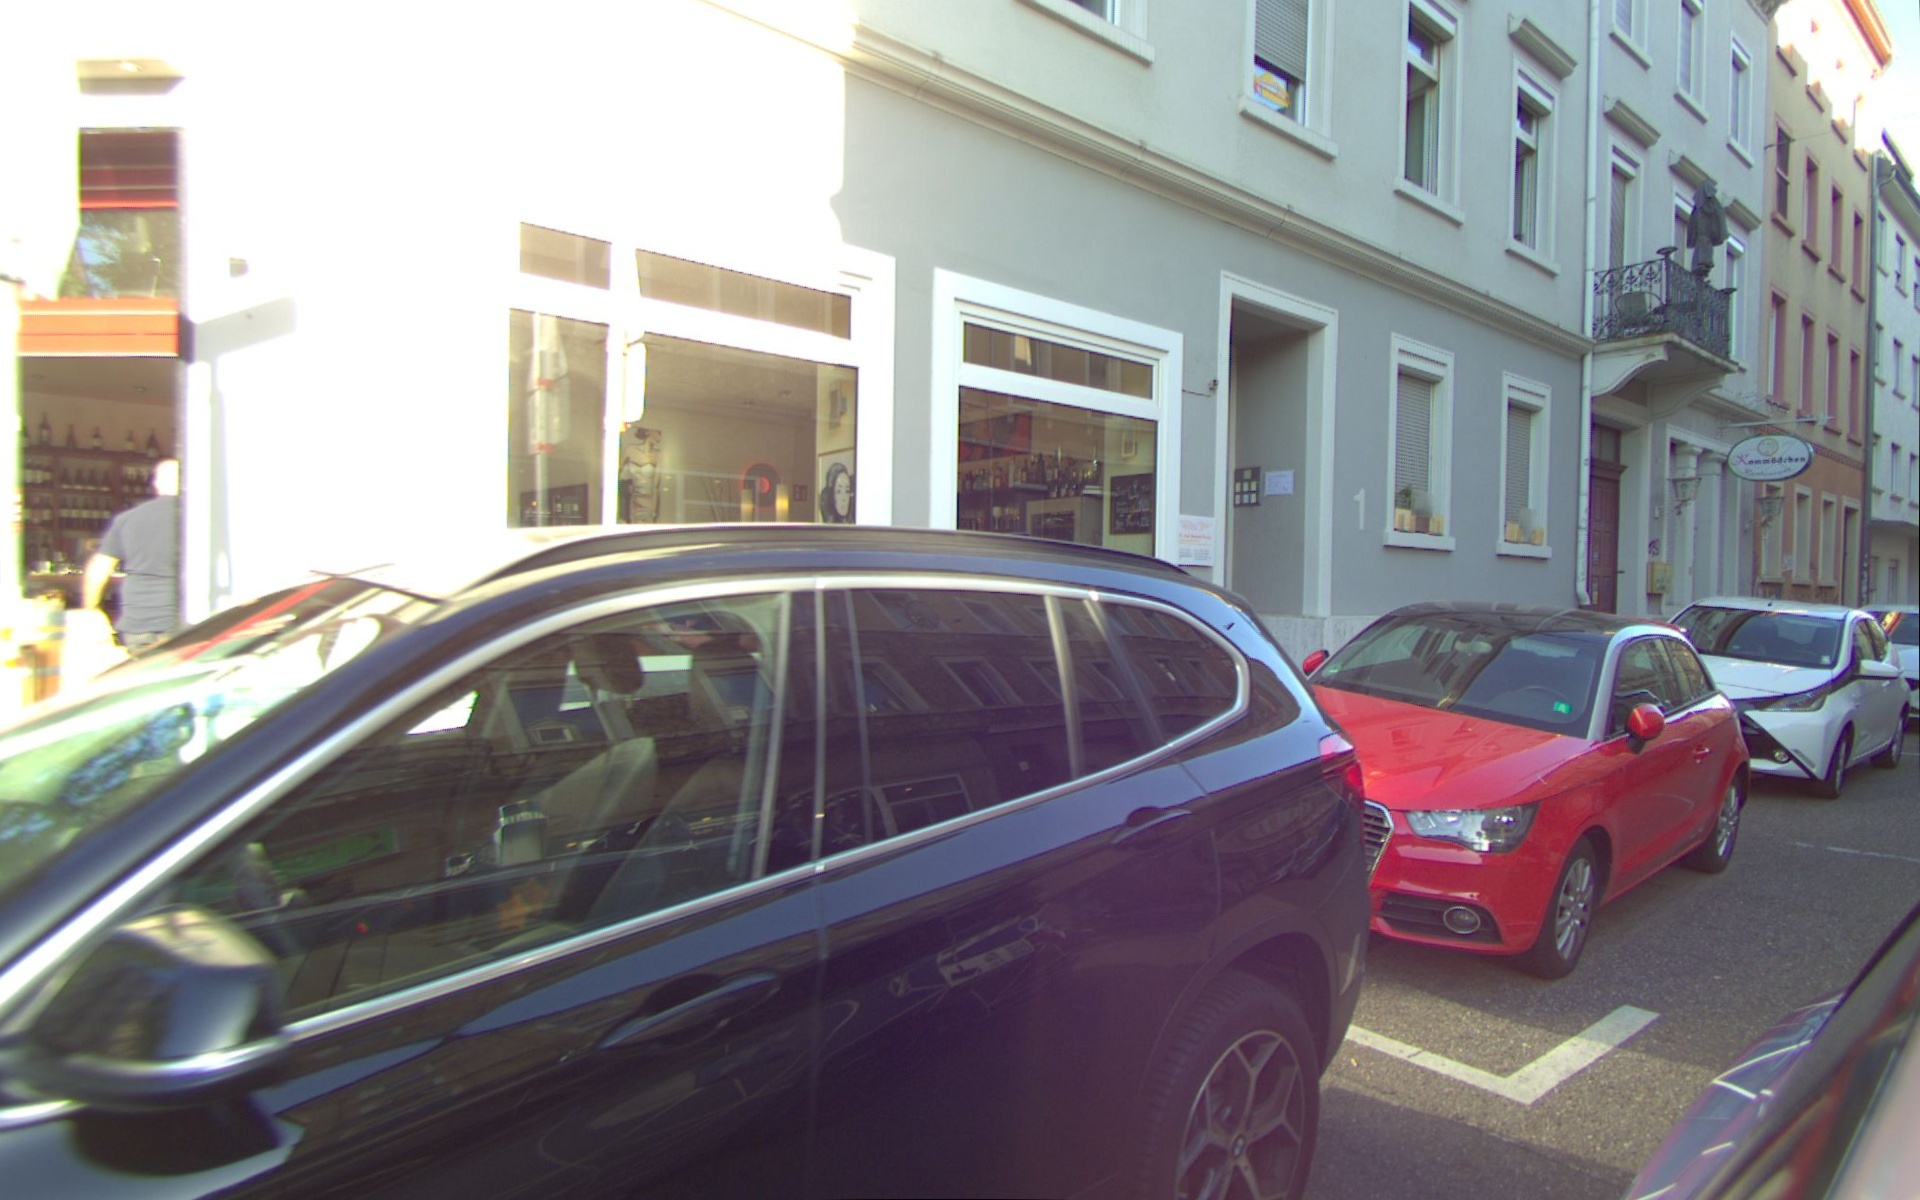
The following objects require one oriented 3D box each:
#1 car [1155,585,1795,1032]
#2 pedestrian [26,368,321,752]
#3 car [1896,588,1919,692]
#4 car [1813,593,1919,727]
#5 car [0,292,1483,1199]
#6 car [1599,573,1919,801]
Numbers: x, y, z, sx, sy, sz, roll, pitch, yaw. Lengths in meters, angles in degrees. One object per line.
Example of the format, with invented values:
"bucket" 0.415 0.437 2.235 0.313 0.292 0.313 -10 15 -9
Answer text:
"car" 2.914 0.717 5.346 3.884 1.522 1.648 0 -1 -40
"pedestrian" -4.050 -0.202 5.283 0.849 1.822 0.851 1 0 3
"car" 16.939 0.629 16.530 4.111 1.617 1.684 0 -1 -36
"car" 12.490 0.692 12.949 4.115 1.529 1.682 0 -1 -39
"car" -0.789 0.597 1.951 4.123 1.683 1.763 0 -1 -40
"car" 7.252 0.625 8.982 3.721 1.607 1.639 0 -1 -40
